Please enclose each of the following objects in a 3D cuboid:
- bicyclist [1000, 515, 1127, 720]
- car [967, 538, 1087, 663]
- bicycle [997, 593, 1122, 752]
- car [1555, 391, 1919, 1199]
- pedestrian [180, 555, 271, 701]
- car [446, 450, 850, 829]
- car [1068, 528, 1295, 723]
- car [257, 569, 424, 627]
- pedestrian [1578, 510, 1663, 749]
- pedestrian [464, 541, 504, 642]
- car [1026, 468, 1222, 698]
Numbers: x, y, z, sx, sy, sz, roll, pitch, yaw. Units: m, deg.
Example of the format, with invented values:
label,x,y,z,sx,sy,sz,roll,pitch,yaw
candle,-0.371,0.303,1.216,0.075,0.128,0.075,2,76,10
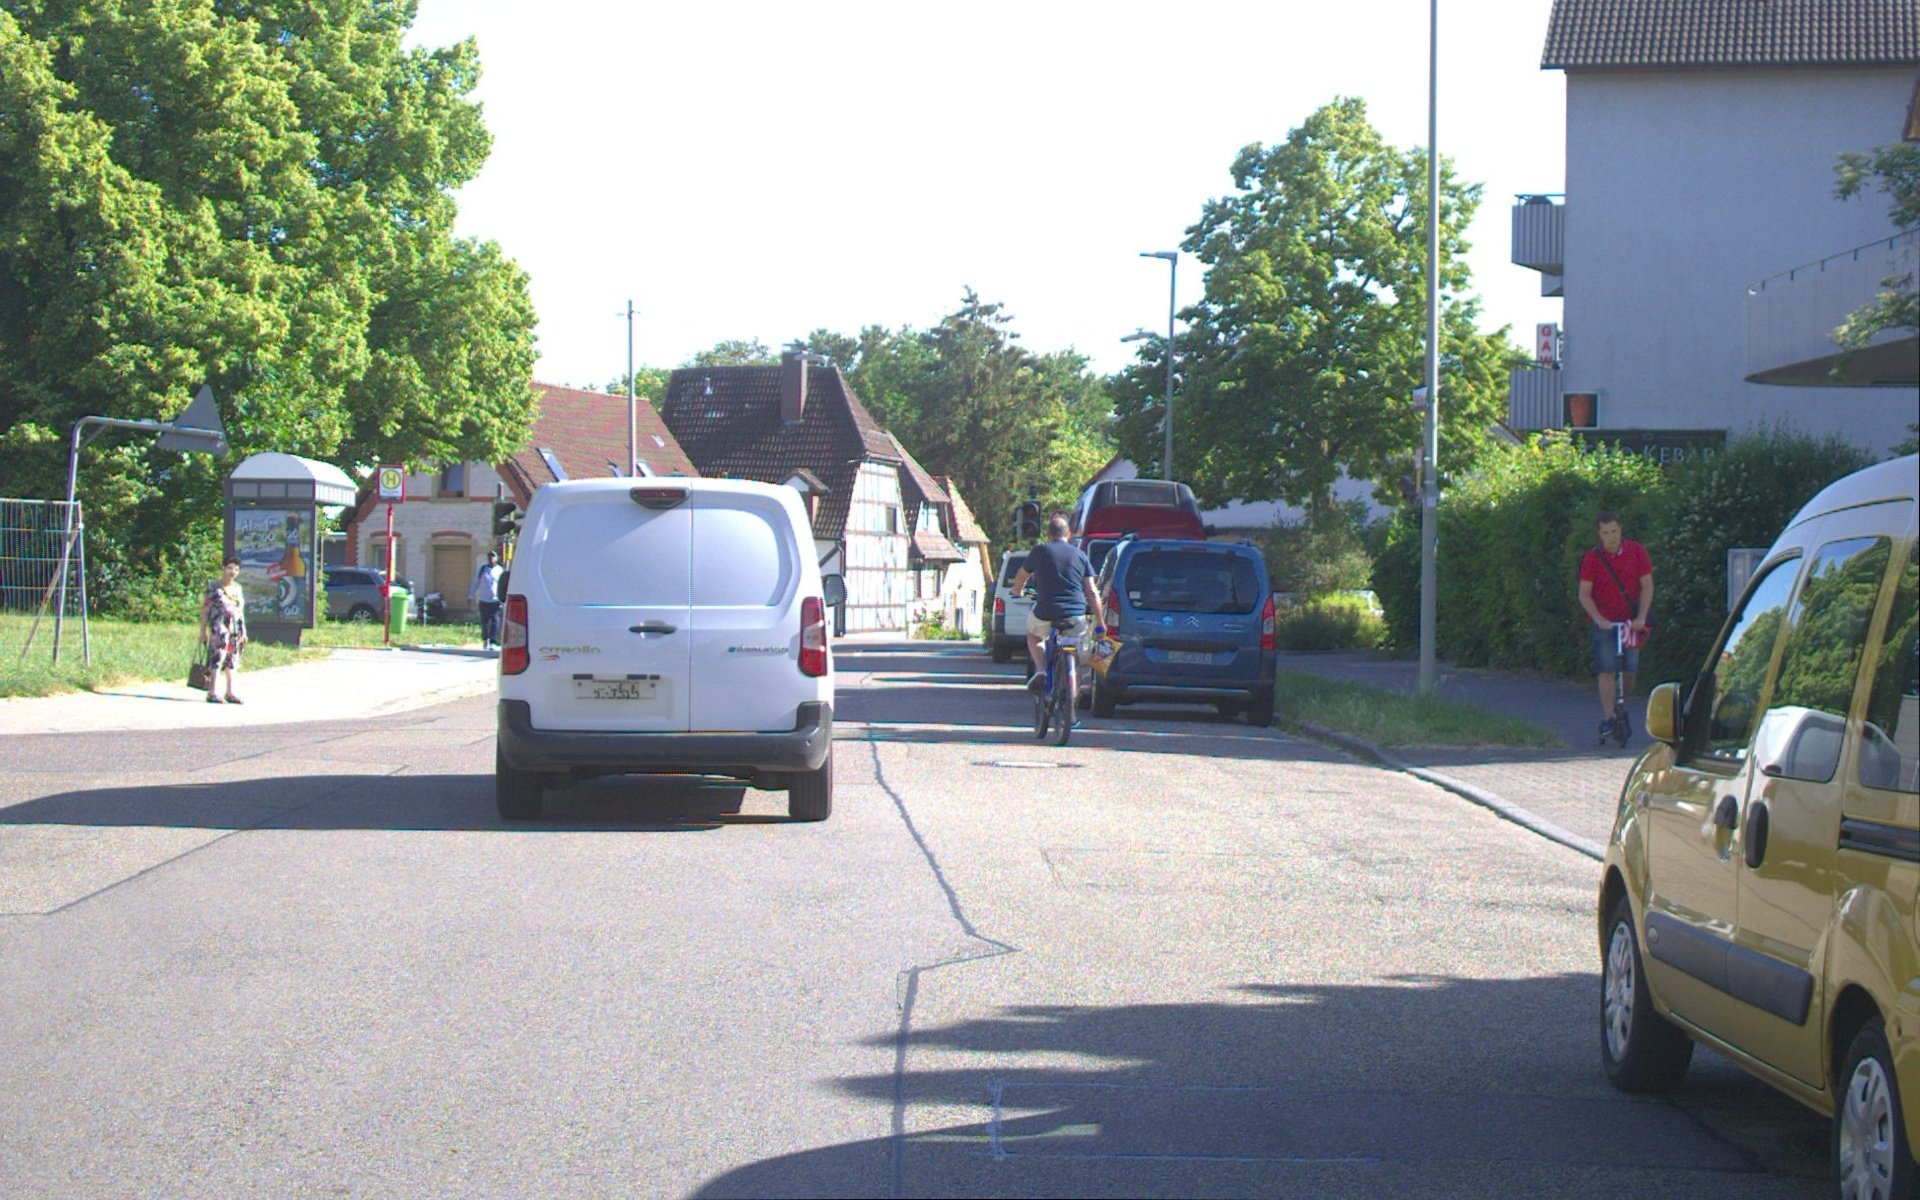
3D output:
label,x,y,z,sx,sy,sz,roll,pitch,yaw
bicyclist,0.812,0.135,27.333,0.905,1.579,0.966,1,0,-2
car,1.154,0.014,61.209,1.804,2.061,4.000,3,0,-2
bicycle,0.772,0.553,27.382,0.787,1.134,2.280,2,1,-2
car,2.677,0.517,8.373,1.724,1.831,4.000,1,1,0
pedestrian,-7.461,0.287,34.930,0.510,1.441,0.638,4,1,32
car,-1.726,0.170,19.558,1.993,1.875,4.289,1,1,-4
car,2.188,0.247,34.939,1.804,1.779,4.000,3,0,-2
car,-16.314,-0.062,90.566,3.980,1.424,1.714,1,1,17
pedestrian,5.135,0.224,26.743,0.483,1.825,0.486,-2,1,-2
pedestrian,-8.565,-0.148,61.908,0.621,1.799,0.640,1,-1,-2
car,1.943,-0.195,42.098,1.866,2.554,4.768,3,0,-2
